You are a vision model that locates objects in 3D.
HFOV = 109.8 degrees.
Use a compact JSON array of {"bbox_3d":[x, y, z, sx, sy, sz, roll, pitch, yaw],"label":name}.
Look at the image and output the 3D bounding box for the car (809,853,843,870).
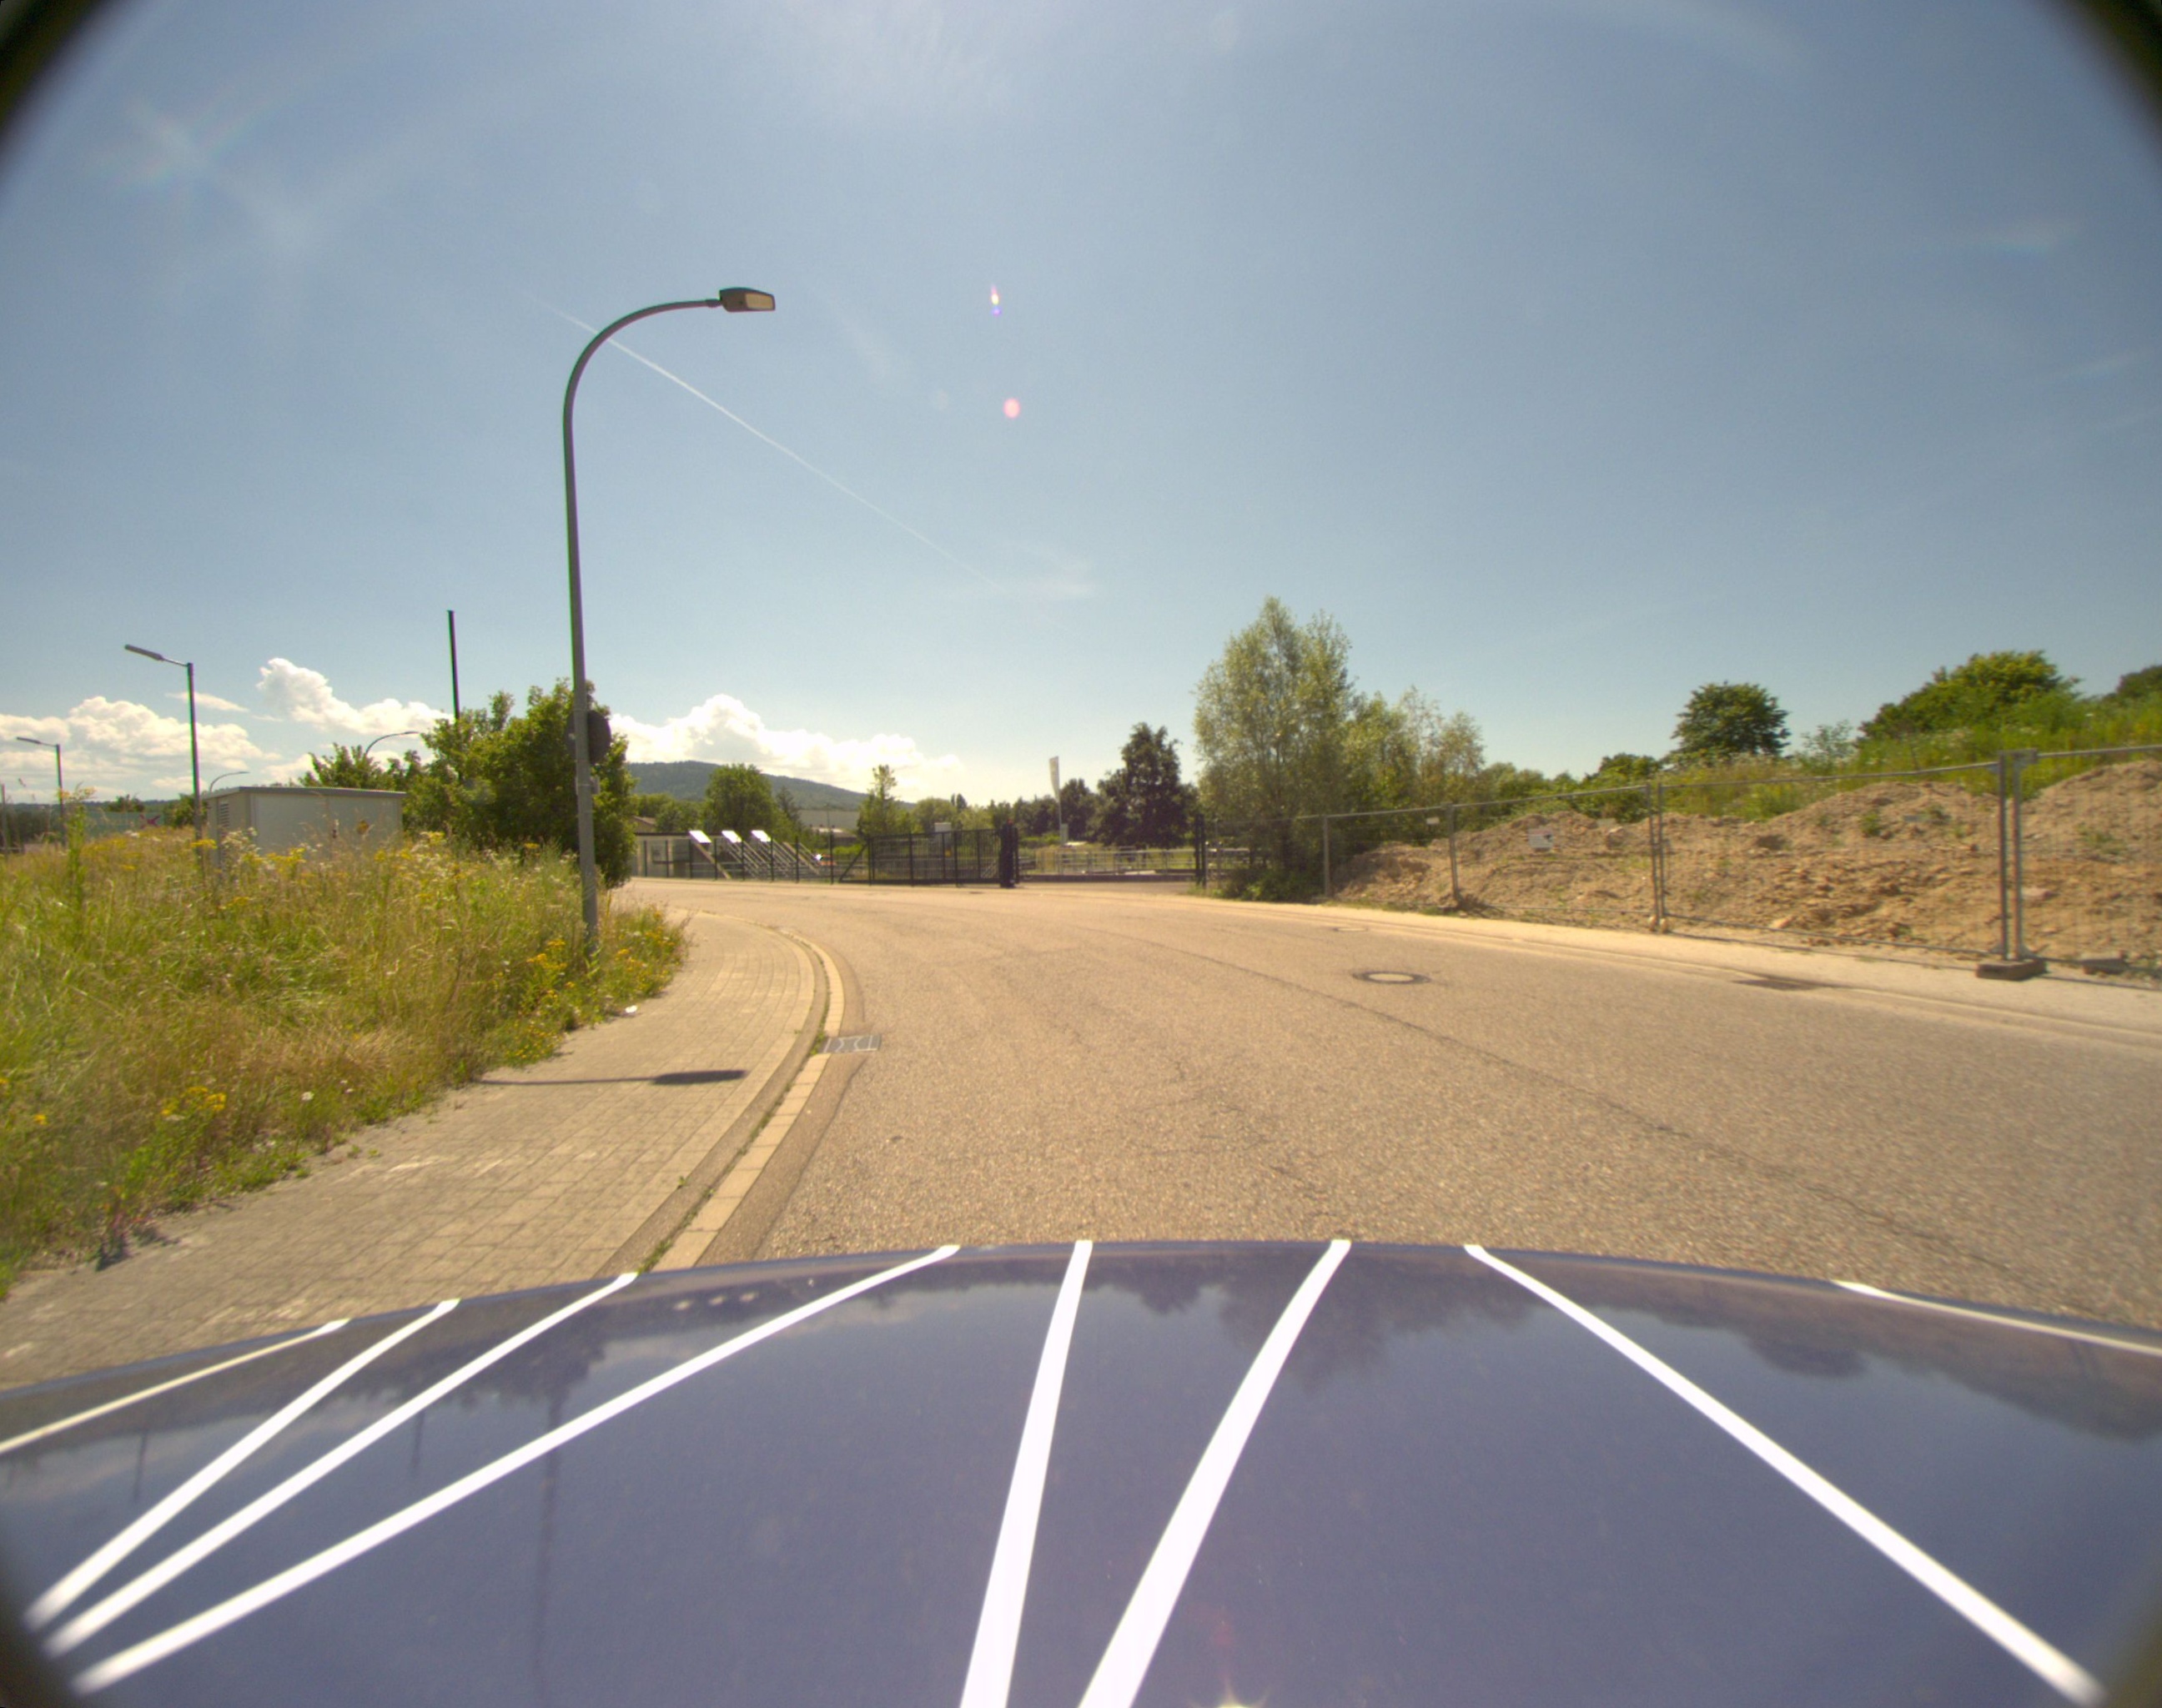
[{"bbox_3d":[-25.263,0.773,75.188,1.804,1.608,3.989,-2,1,-41],"label":"car"}]
